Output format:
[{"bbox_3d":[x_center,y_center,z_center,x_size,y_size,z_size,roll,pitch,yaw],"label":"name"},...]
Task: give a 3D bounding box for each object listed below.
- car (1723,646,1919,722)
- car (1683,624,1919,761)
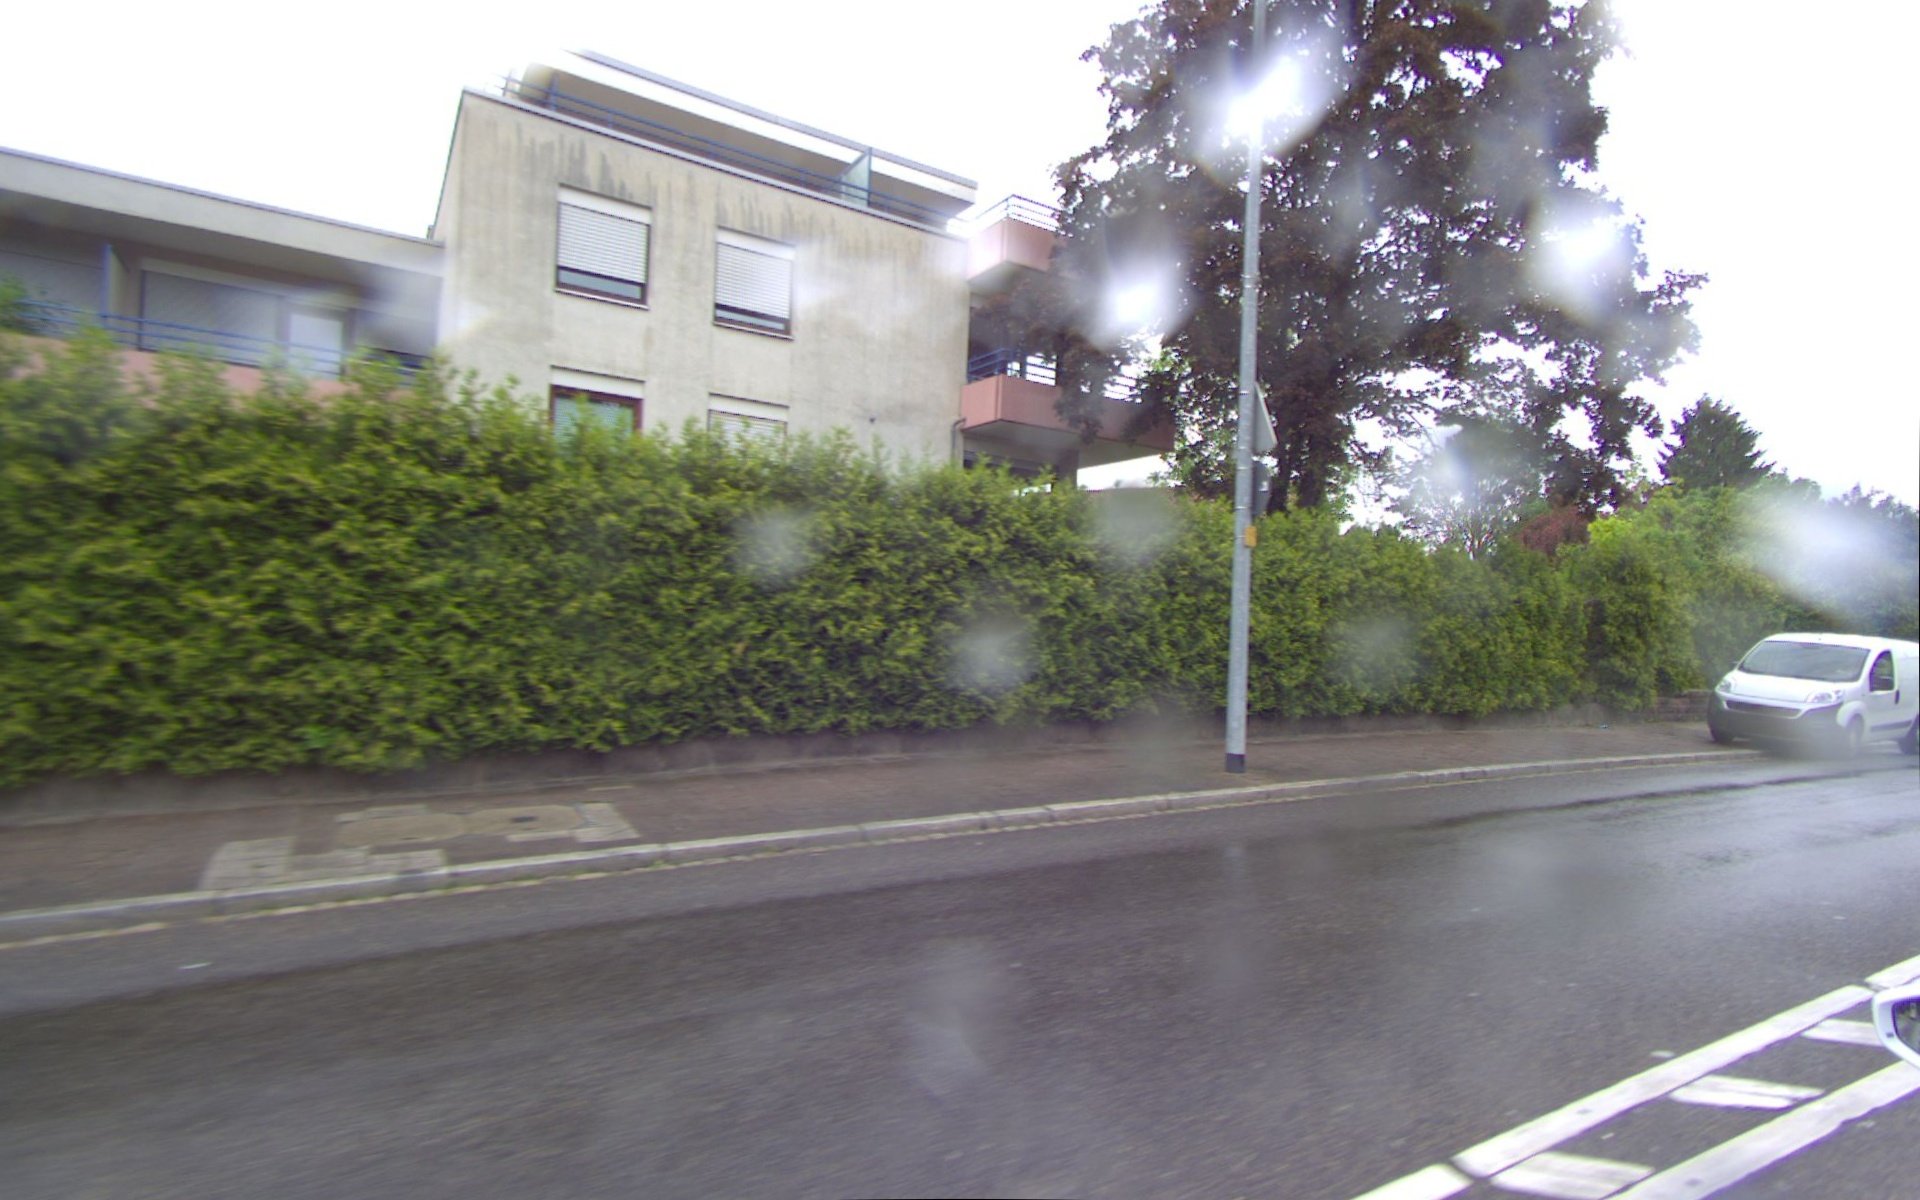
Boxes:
[{"bbox_3d":[20.526,1.898,23.069,1.786,1.380,4.455,1,1,-34],"label":"car"},{"bbox_3d":[12.919,1.314,15.198,3.932,1.731,1.692,2,2,-30],"label":"car"}]
